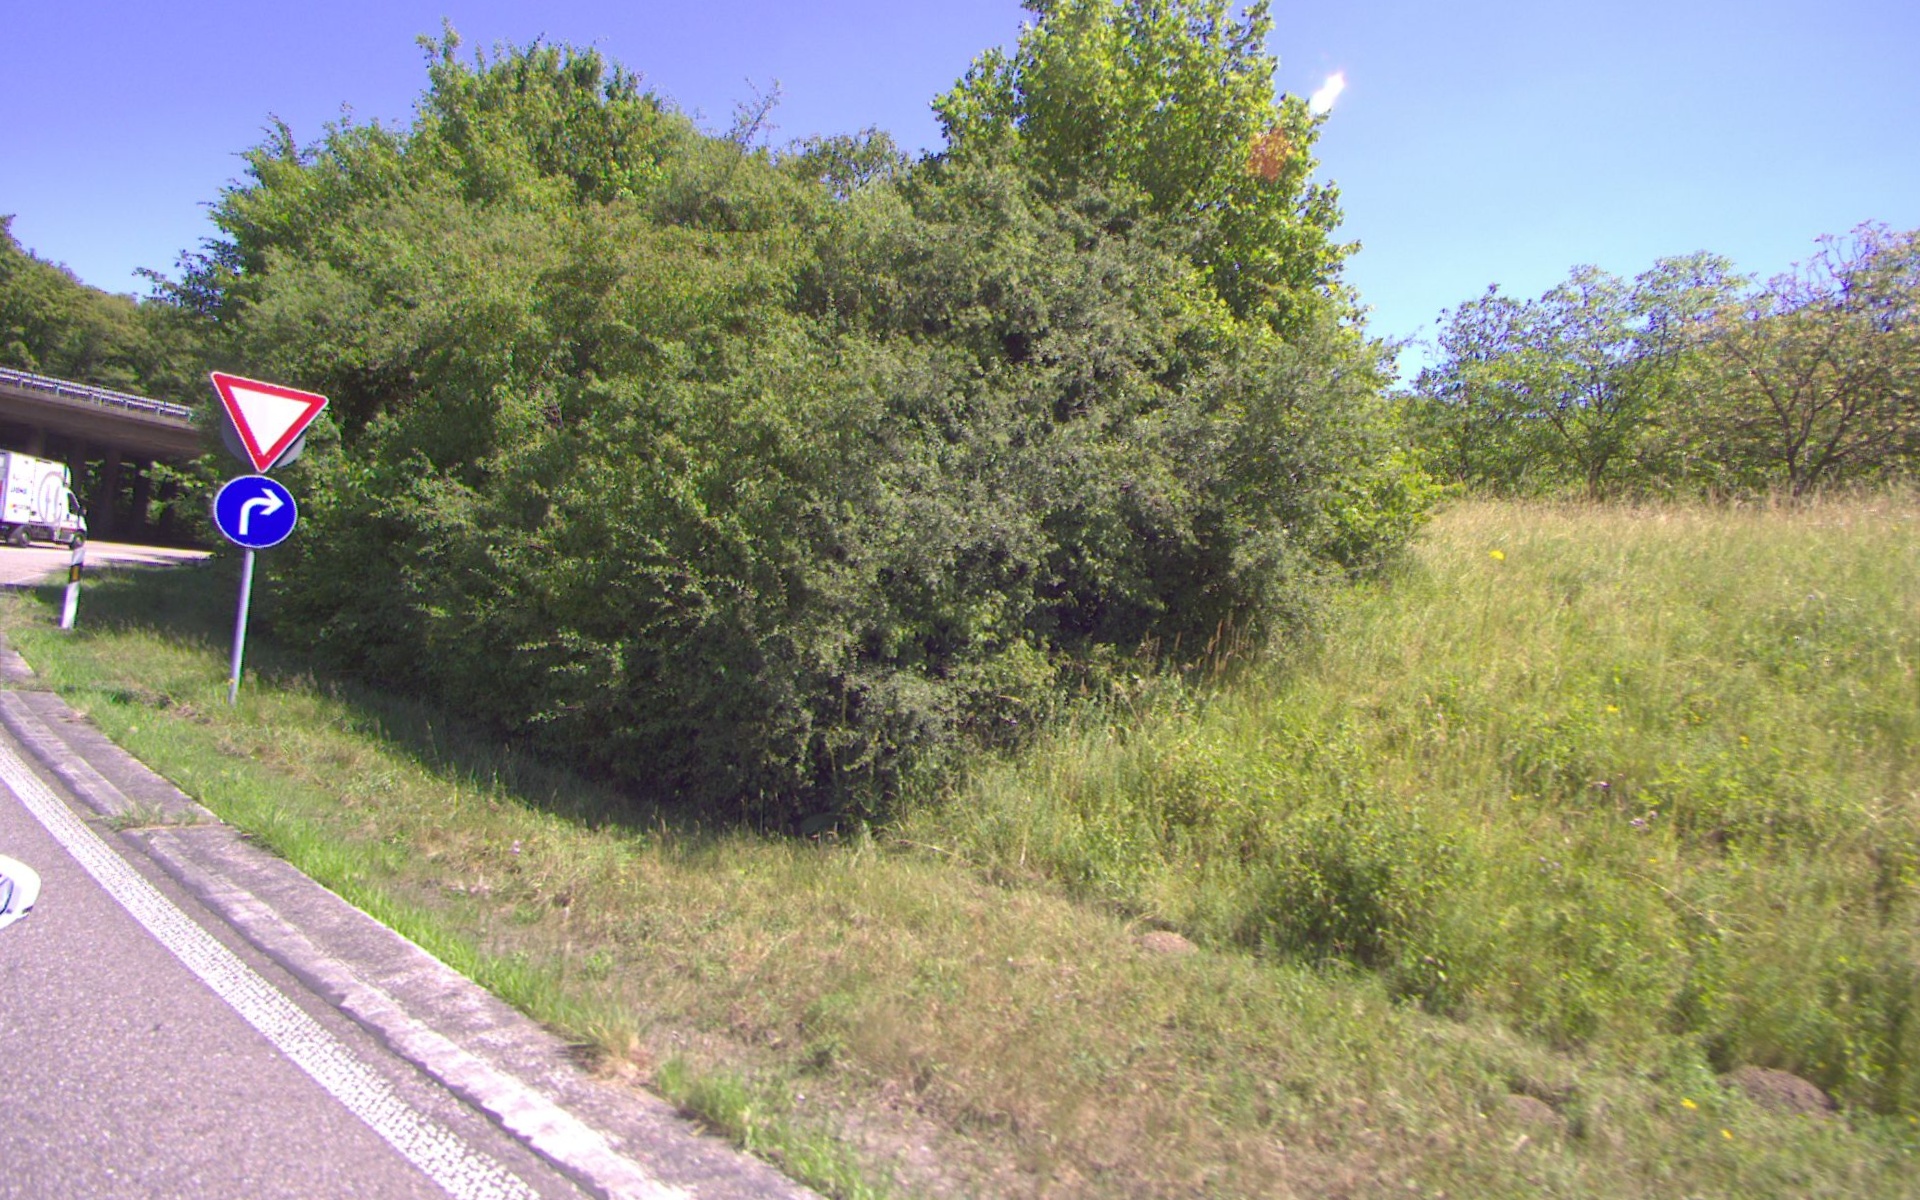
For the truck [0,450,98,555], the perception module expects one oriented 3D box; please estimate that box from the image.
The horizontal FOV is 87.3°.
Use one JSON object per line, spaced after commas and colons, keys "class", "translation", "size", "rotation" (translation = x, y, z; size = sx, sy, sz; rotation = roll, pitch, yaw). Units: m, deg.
{"class": "truck", "translation": [-31.248, -3.223, 33.040], "size": [2.216, 3.020, 5.871], "rotation": [7, -1, -19]}
